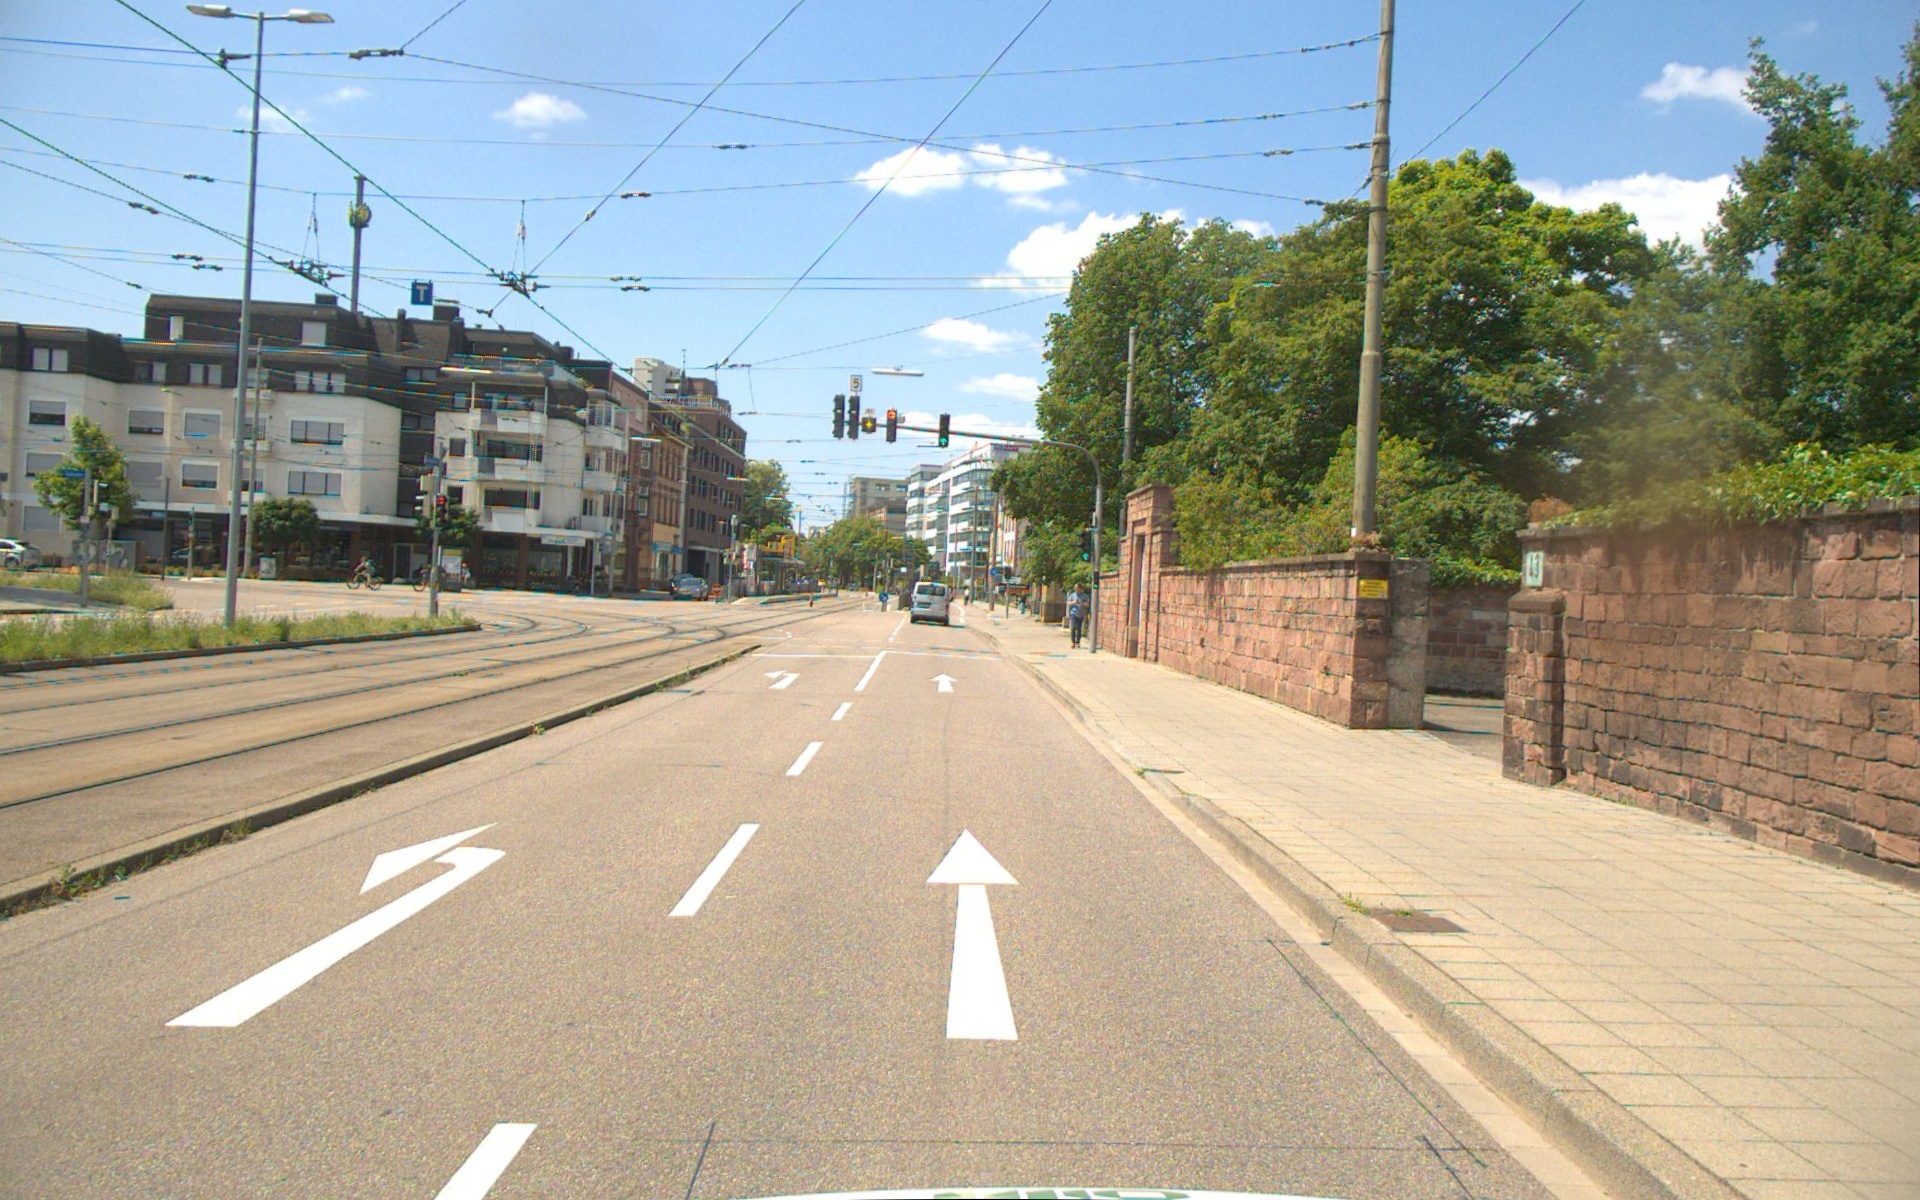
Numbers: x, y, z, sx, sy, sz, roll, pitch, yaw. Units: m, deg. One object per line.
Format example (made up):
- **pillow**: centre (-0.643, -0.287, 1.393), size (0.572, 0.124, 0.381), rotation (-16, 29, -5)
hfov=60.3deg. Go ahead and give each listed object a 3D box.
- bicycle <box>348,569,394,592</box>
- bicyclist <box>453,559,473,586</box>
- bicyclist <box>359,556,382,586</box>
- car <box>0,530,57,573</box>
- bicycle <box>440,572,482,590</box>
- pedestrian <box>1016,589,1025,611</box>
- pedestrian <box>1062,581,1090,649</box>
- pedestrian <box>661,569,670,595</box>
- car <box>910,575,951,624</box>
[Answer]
- **bicycle**: centre (-30.027, -0.984, 84.278), size (0.507, 1.120, 2.245), rotation (0, -1, 40)
- **bicyclist**: centre (-27.576, -1.511, 91.783), size (0.645, 1.494, 0.843), rotation (0, -1, 42)
- **bicyclist**: centre (-30.020, -1.471, 84.273), size (0.723, 1.513, 0.849), rotation (0, -1, 40)
- **car**: centre (-46.555, -2.401, 80.620), size (3.907, 1.946, 1.999), rotation (2, 0, -3)
- **bicycle**: centre (-27.663, -1.051, 91.696), size (0.659, 0.951, 2.245), rotation (1, 0, 40)
- **pedestrian**: centre (4.240, -0.001, 115.506), size (0.565, 1.583, 0.786), rotation (1, -1, 2)
- **pedestrian**: centre (3.269, 0.426, 46.679), size (0.700, 1.884, 0.768), rotation (2, 0, 6)
- **pedestrian**: centre (-24.077, -1.463, 135.214), size (0.605, 2.049, 0.810), rotation (2, 0, -3)
- **car**: centre (-1.307, -0.034, 74.331), size (1.717, 2.048, 4.000), rotation (2, 1, -1)
